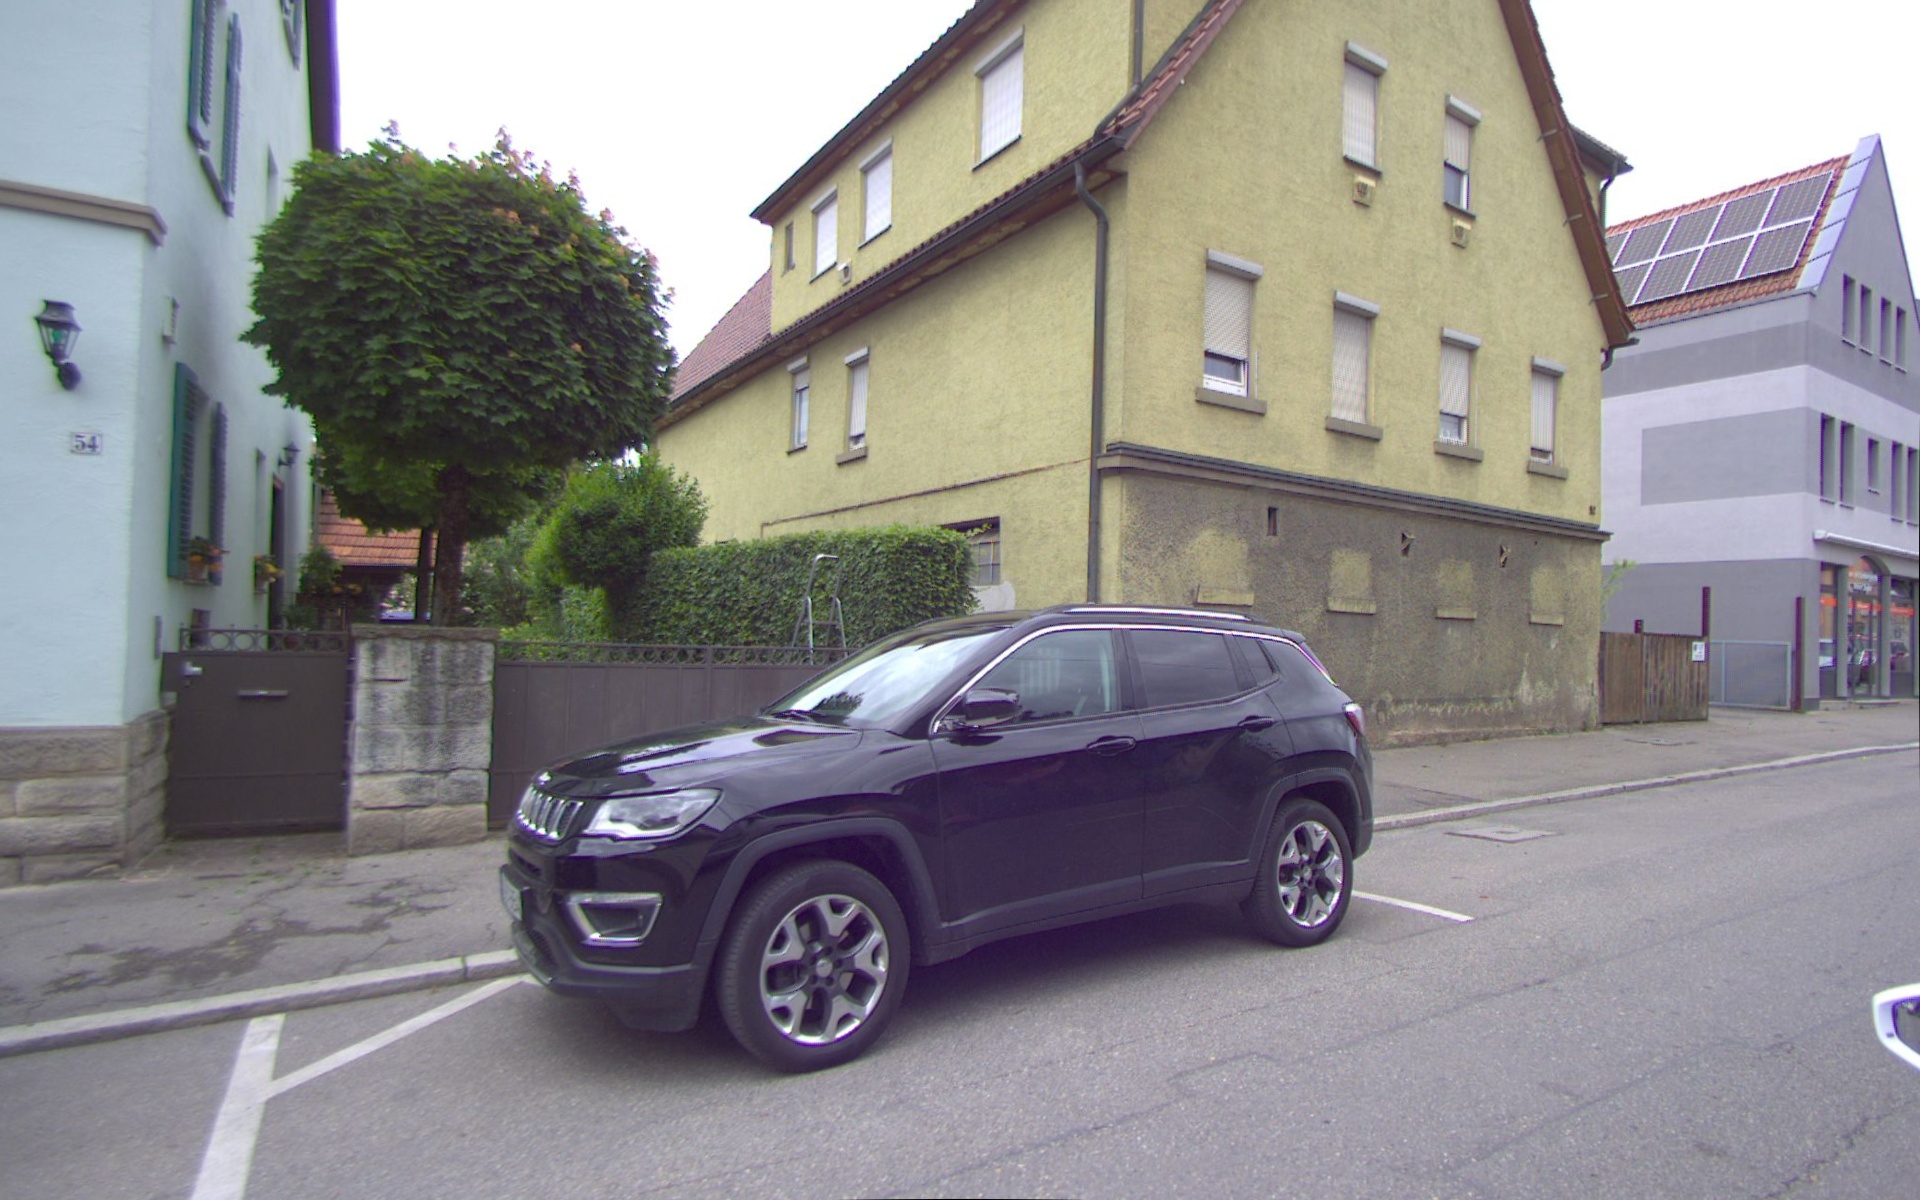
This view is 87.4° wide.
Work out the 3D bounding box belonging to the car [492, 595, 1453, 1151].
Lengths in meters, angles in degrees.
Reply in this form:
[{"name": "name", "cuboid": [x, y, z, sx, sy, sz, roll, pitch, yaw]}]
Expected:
[{"name": "car", "cuboid": [0.242, 0.845, 4.992, 4.475, 1.640, 1.887, 0, -2, -32]}]
